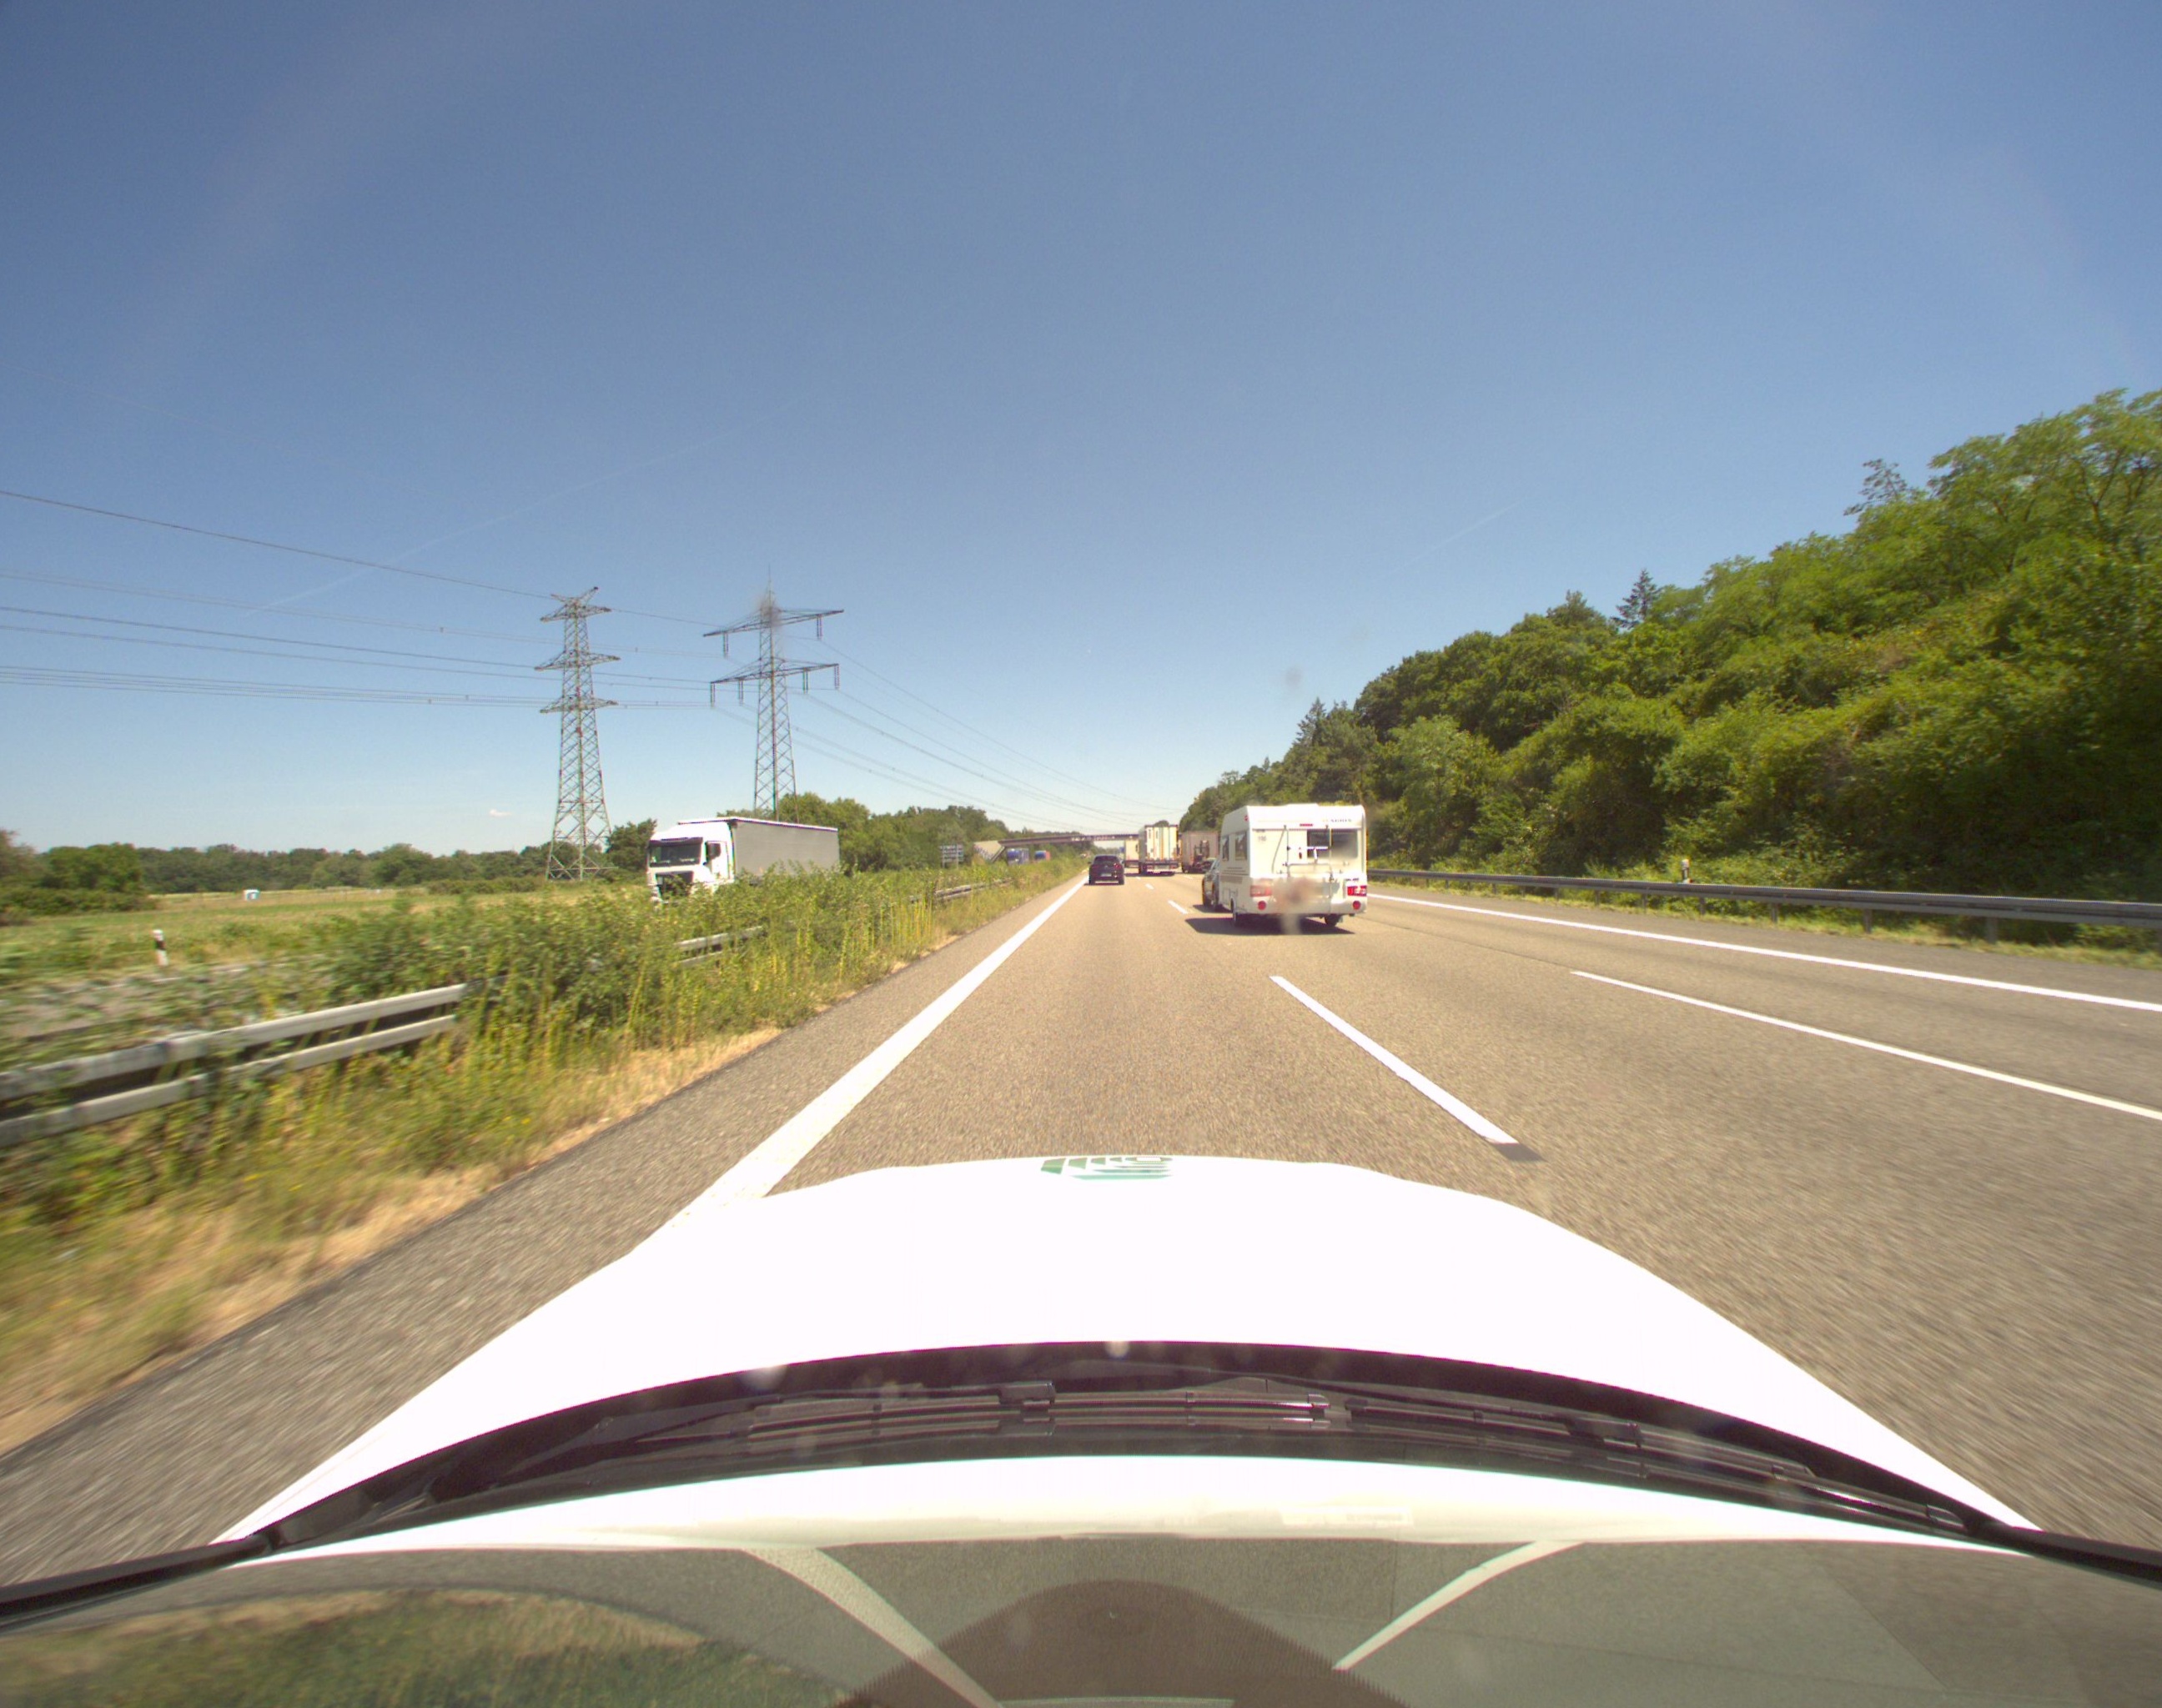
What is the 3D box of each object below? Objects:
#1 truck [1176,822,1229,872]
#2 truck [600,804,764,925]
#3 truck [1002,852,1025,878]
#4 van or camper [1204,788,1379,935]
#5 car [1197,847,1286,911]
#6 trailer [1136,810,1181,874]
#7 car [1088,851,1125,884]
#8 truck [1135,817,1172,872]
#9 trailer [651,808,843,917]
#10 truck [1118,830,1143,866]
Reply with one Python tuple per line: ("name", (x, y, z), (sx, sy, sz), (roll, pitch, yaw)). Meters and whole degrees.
("truck", (10.974, -0.525, 74.724), (3.557, 4.245, 11.657), (0, -1, 2))
("truck", (-16.539, 0.404, 34.434), (3.356, 4.408, 6.558), (-4, 0, 1))
("truck", (-12.106, 1.944, 146.322), (3.076, 4.407, 6.804), (-4, 0, 2))
("van or camper", (4.405, 0.134, 18.365), (2.429, 2.675, 6.353), (-2, 0, 2))
("car", (4.580, 0.663, 23.884), (1.871, 1.612, 4.706), (-2, 0, 3))
("trailer", (6.365, -0.854, 68.733), (3.075, 4.885, 12.263), (0, -1, 2))
("car", (1.443, 0.729, 46.579), (1.986, 1.772, 4.001), (-2, 0, 1))
("truck", (6.679, -0.794, 75.992), (3.075, 4.885, 6.600), (0, -1, 2))
("trailer", (-16.340, 0.386, 41.846), (3.356, 4.408, 14.324), (-4, 0, 1))
("truck", (7.272, -0.829, 121.551), (3.498, 5.166, 10.263), (-1, 0, 2))
